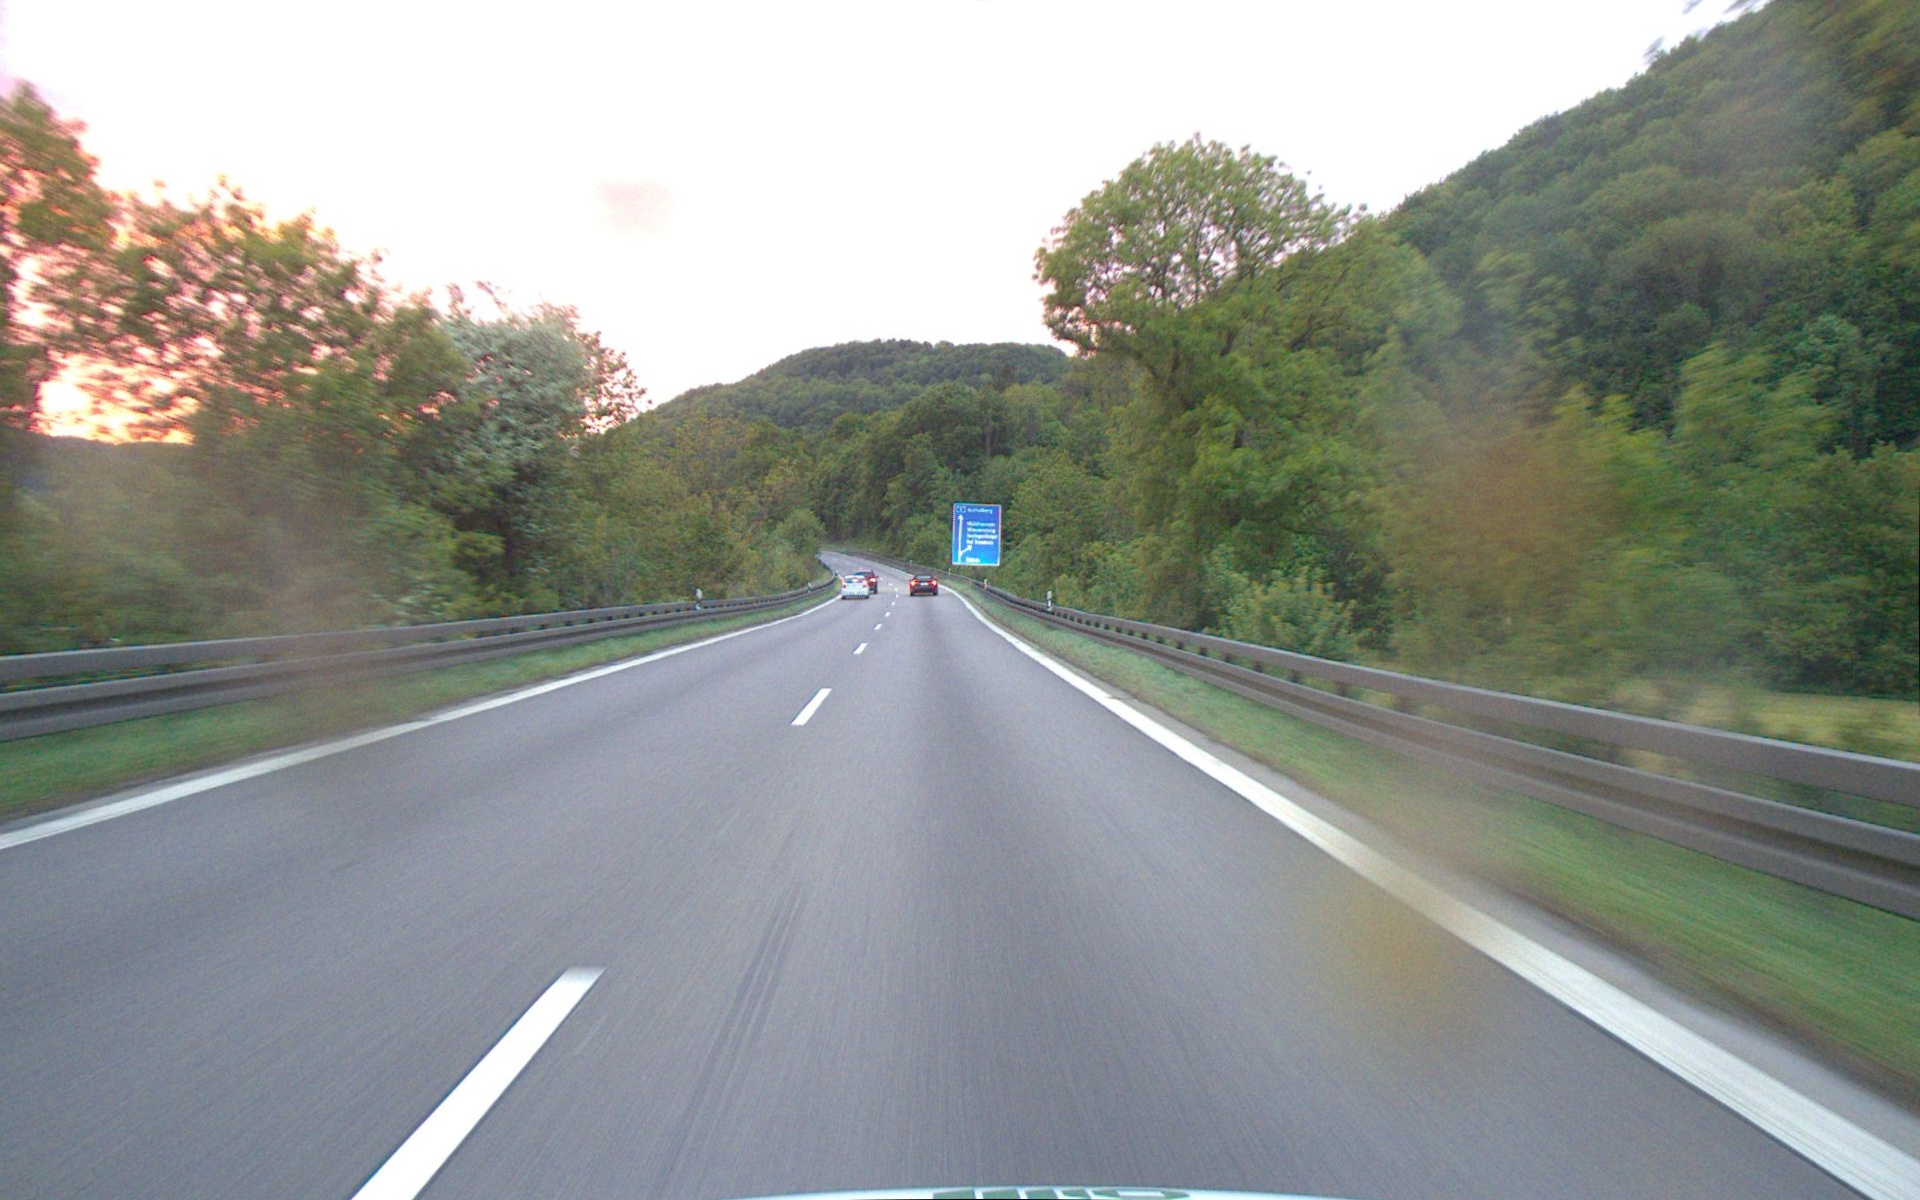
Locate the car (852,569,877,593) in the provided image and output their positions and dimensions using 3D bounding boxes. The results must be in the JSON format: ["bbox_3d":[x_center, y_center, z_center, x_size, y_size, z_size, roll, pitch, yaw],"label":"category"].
[{"bbox_3d":[-6.862,-1.355,118.642,1.683,1.663,3.999,0,1,-2],"label":"car"}]

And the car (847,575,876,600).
[{"bbox_3d":[-6.283,-0.814,105.583,1.683,1.527,3.999,0,1,-2],"label":"car"}]

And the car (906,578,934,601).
[{"bbox_3d":[-2.676,-0.706,110.965,1.840,1.492,3.999,0,1,-2],"label":"car"}]
